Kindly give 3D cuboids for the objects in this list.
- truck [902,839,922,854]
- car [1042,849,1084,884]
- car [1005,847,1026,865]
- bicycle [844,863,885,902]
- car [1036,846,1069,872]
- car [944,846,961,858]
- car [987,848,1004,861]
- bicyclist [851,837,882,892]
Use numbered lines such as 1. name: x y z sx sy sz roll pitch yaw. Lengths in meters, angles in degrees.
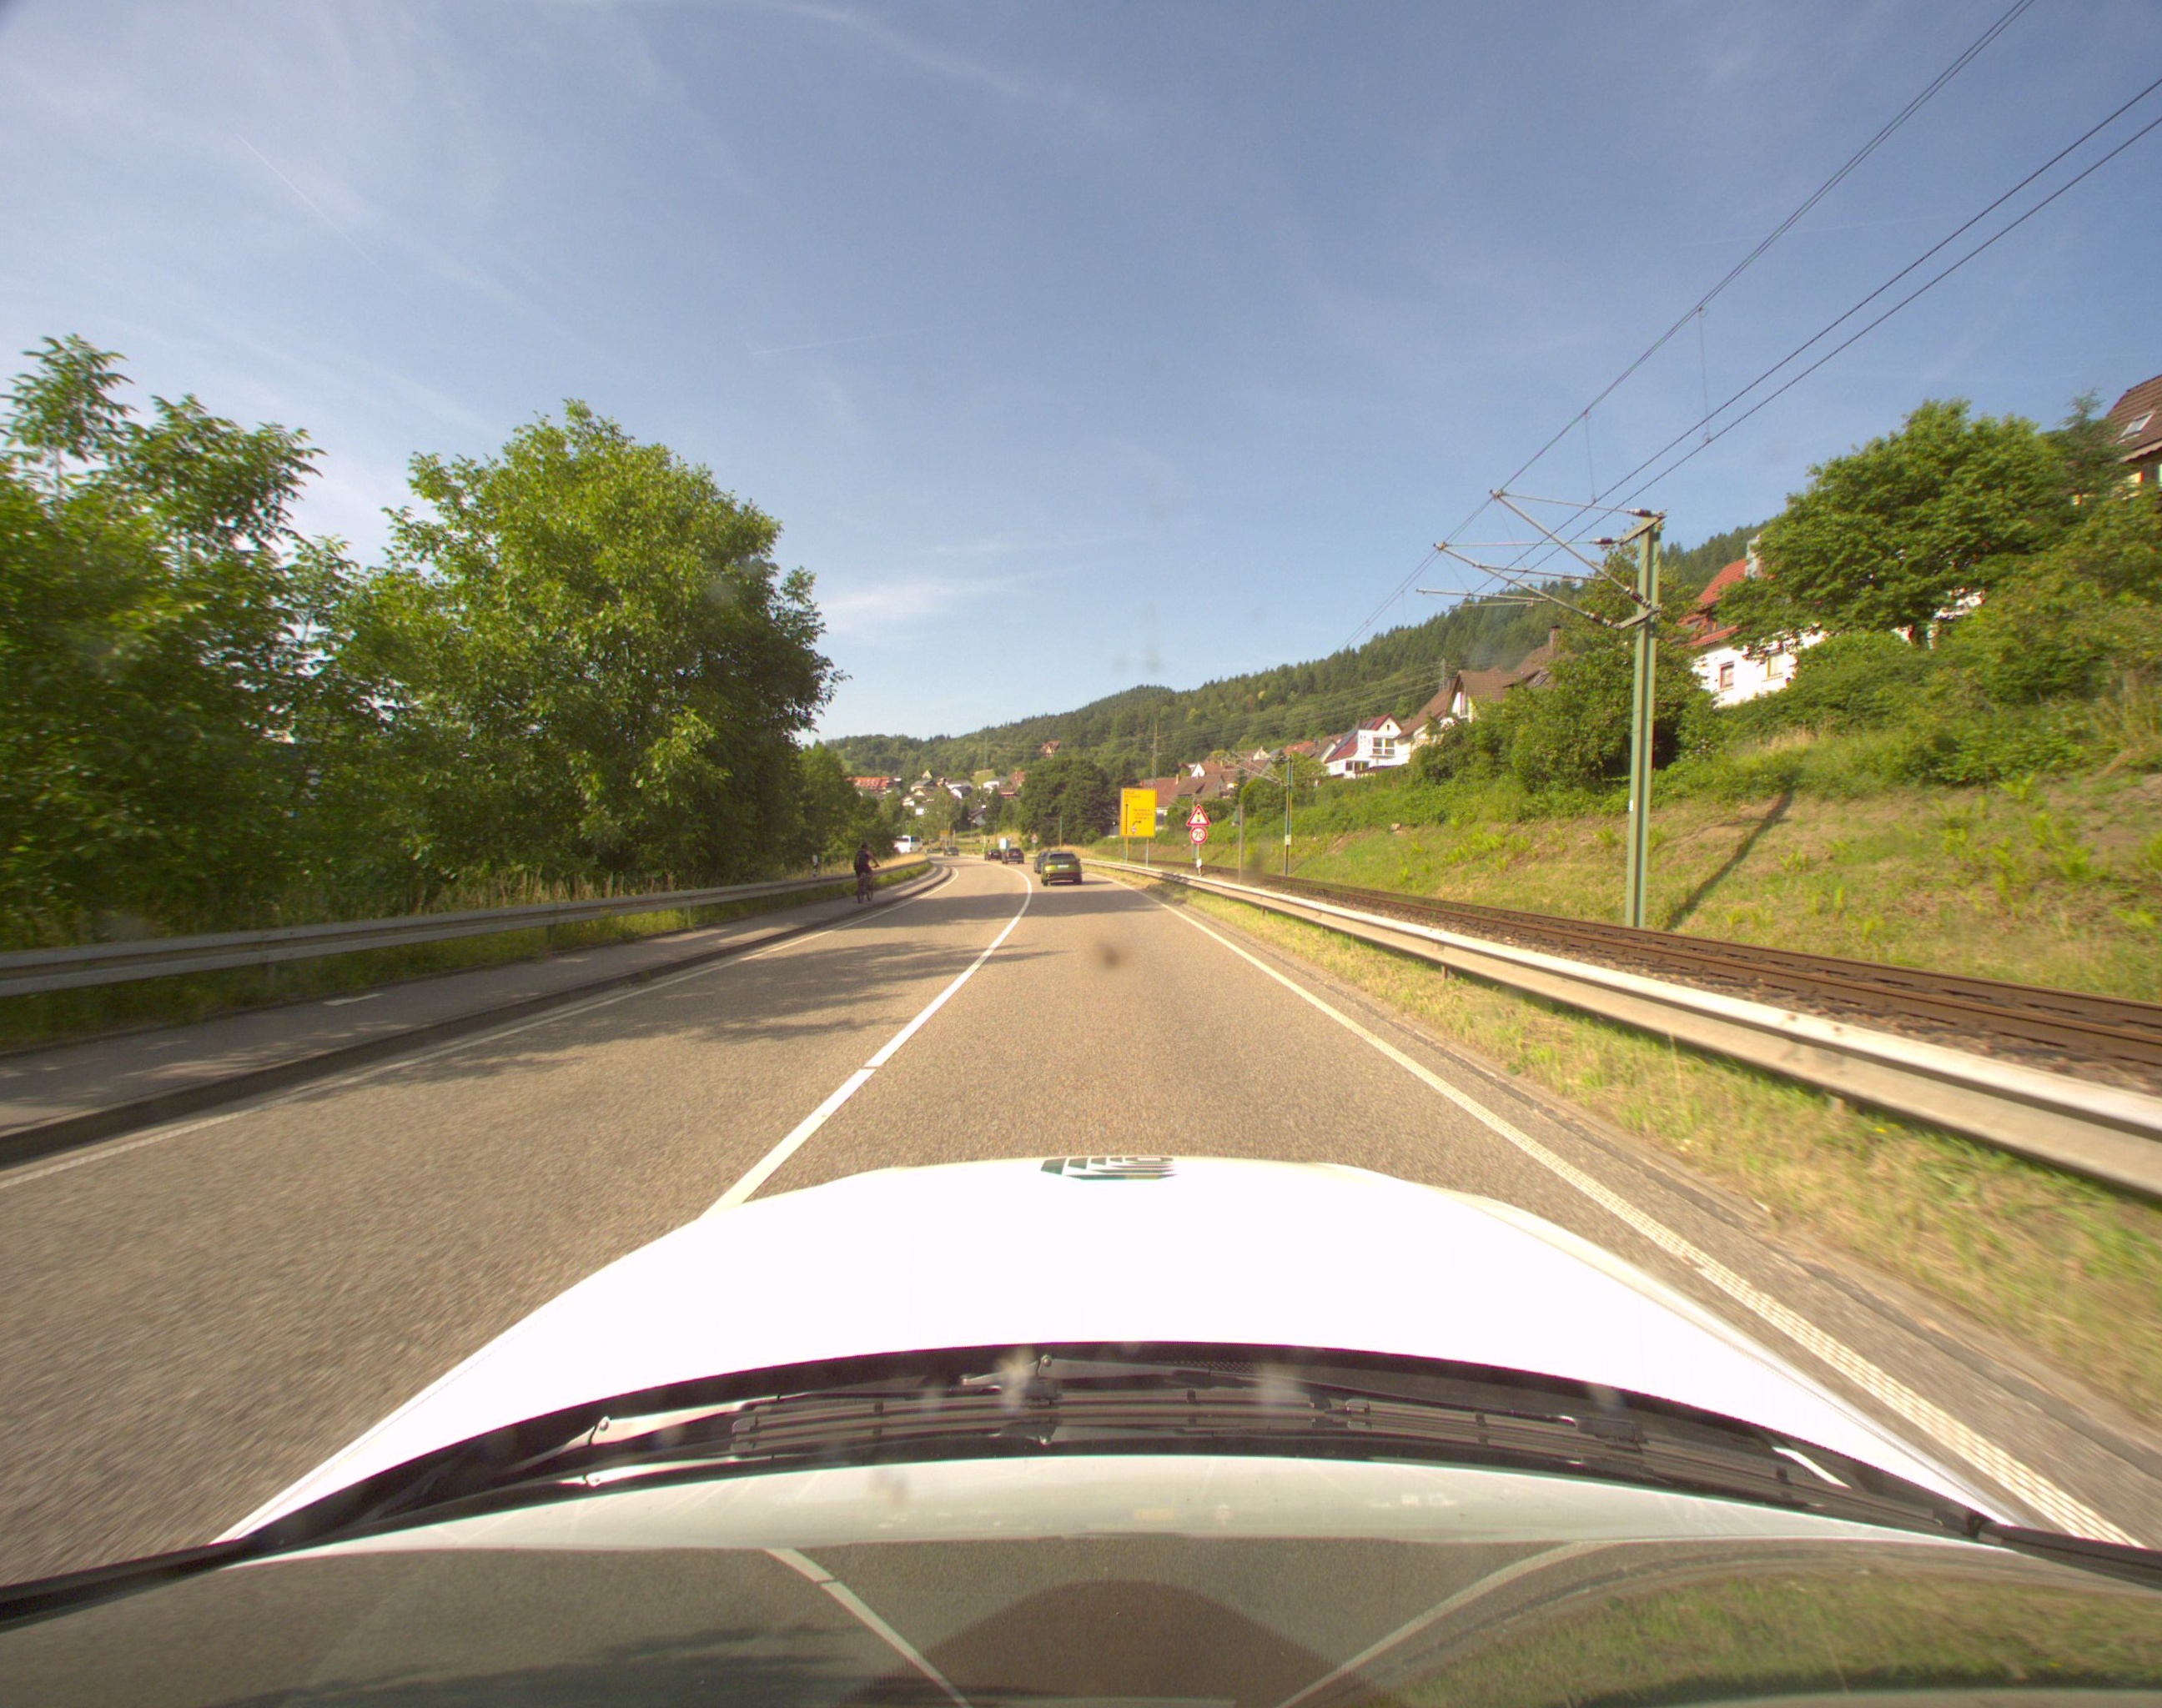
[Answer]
1. truck: -34.265 -1.591 165.285 2.724 3.083 6.060 0 1 -24
2. car: -0.861 0.534 36.996 1.711 1.455 3.995 -2 1 -3
3. car: -6.566 0.167 81.372 1.879 1.686 3.989 1 0 -8
4. bicycle: -6.524 0.829 24.654 0.555 1.045 2.230 3 1 1
5. car: -1.853 0.304 51.668 1.666 1.559 3.988 1 0 -9
6. car: -21.614 -0.386 136.980 2.071 1.811 3.972 2 0 -21
7. car: -10.606 0.034 101.258 1.849 1.527 3.650 0 1 -10
8. bicyclist: -6.466 0.301 24.537 0.555 1.586 1.036 3 0 1
